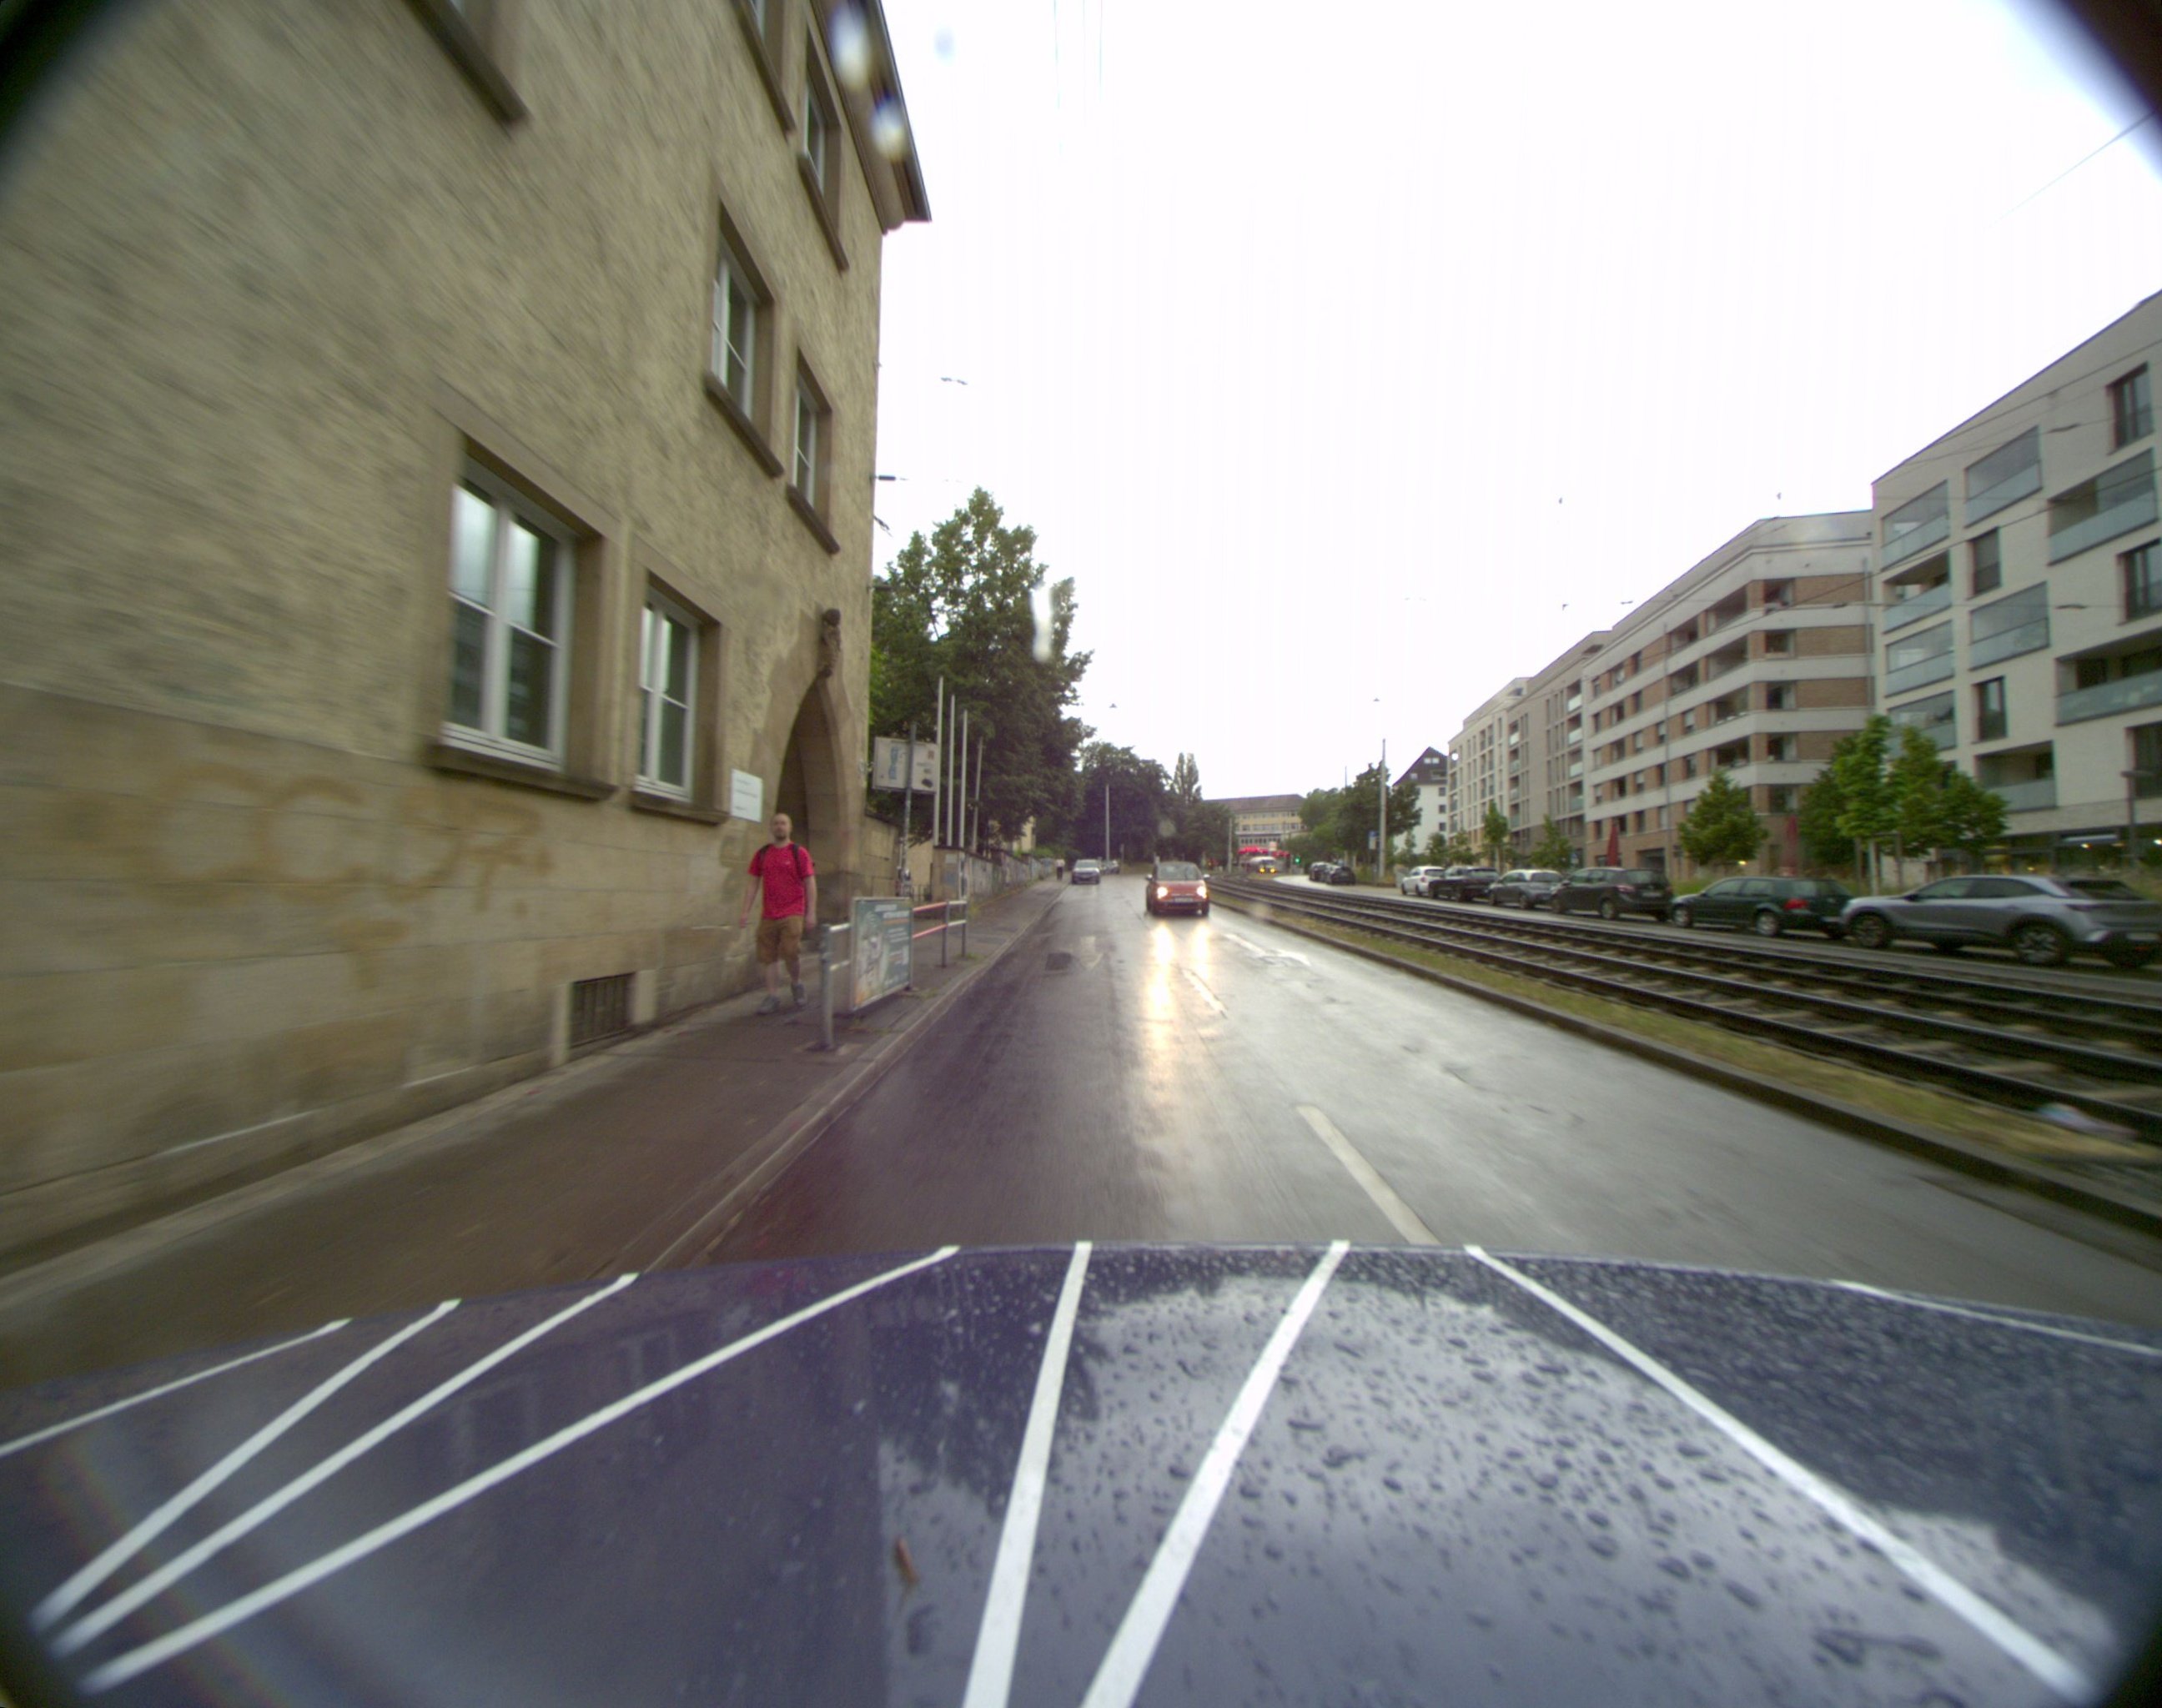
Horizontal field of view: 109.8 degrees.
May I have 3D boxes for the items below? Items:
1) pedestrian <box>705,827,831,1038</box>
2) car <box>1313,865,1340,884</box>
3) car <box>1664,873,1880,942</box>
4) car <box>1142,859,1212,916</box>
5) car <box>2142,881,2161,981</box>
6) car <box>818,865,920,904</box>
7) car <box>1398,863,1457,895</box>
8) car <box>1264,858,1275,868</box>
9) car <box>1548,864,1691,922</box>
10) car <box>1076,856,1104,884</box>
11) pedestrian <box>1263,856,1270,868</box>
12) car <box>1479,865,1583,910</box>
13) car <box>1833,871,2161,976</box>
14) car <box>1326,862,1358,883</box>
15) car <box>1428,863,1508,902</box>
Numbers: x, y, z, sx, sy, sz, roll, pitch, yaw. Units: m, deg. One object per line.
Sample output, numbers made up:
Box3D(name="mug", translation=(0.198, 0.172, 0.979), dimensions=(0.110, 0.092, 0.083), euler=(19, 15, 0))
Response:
Box3D(name="pedestrian", translation=(-2.741, 0.652, 6.732), dimensions=(0.748, 1.754, 0.818), euler=(0, 1, 1))
Box3D(name="car", translation=(21.209, 1.738, 65.785), dimensions=(1.653, 1.455, 3.672), euler=(-2, 0, 10))
Box3D(name="car", translation=(16.685, 1.231, 18.668), dimensions=(1.684, 1.372, 4.033), euler=(-1, 0, 0))
Box3D(name="car", translation=(2.773, 0.935, 22.588), dimensions=(1.594, 1.455, 3.670), euler=(-2, 0, 0))
Box3D(name="car", translation=(16.626, 1.135, 9.145), dimensions=(1.684, 1.456, 4.329), euler=(-1, 0, 0))
Box3D(name="car", translation=(-10.640, 1.529, 38.195), dimensions=(4.526, 1.769, 1.824), euler=(-2, 1, 12))
Box3D(name="car", translation=(17.592, 1.228, 38.765), dimensions=(1.649, 1.496, 3.782), euler=(-1, 0, 7))
Box3D(name="car", translation=(34.610, 1.652, 139.561), dimensions=(1.666, 1.597, 3.812), euler=(-2, 0, 16))
Box3D(name="car", translation=(16.558, 1.135, 23.604), dimensions=(1.684, 1.554, 3.928), euler=(-1, 0, 0))
Box3D(name="car", translation=(0.580, 1.040, 50.060), dimensions=(1.726, 1.676, 3.866), euler=(-2, 0, 0))
Box3D(name="pedestrian", translation=(29.290, 1.248, 119.819), dimensions=(0.816, 1.754, 0.751), euler=(3, 0, 40))
Box3D(name="car", translation=(16.967, 1.209, 28.880), dimensions=(1.684, 1.496, 3.928), euler=(-1, 0, 0))
Box3D(name="car", translation=(16.710, 1.130, 13.950), dimensions=(1.685, 1.521, 4.048), euler=(-1, 0, -4))
Box3D(name="car", translation=(19.744, 1.368, 57.598), dimensions=(1.653, 1.455, 3.672), euler=(-2, 0, 10))
Box3D(name="car", translation=(17.089, 1.215, 33.767), dimensions=(1.683, 1.496, 4.407), euler=(-1, 0, 6))
